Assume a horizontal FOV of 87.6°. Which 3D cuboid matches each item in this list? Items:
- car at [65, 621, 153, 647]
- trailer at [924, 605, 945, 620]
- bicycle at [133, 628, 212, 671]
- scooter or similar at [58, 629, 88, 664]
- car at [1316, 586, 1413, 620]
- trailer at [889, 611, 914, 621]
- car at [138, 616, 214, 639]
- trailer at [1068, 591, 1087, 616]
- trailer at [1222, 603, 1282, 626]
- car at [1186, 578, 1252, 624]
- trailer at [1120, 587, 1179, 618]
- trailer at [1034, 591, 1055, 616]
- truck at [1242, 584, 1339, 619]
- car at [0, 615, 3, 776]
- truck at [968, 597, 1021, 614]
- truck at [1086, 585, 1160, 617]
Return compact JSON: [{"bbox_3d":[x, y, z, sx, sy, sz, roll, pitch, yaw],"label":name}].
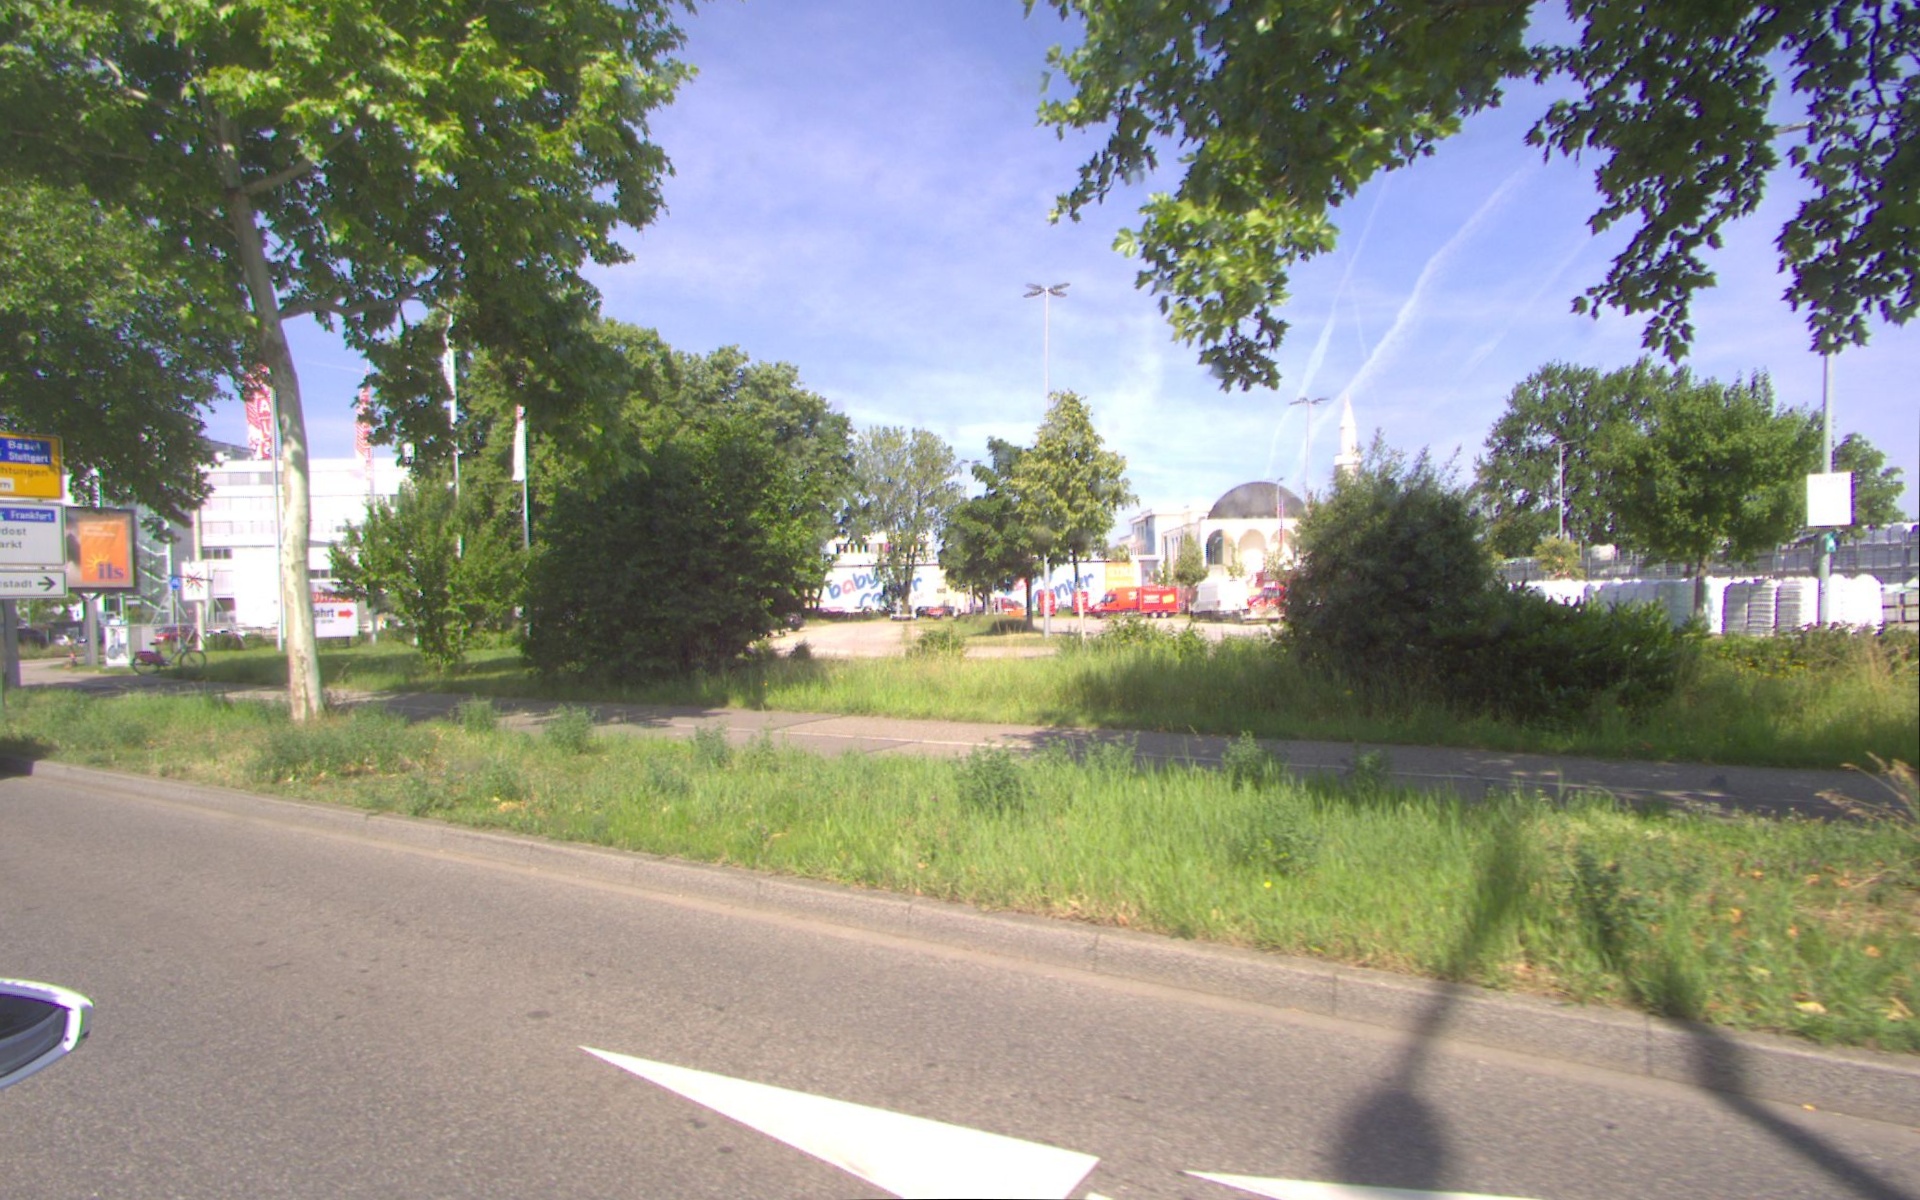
[{"bbox_3d":[-53.299,2.115,62.812,1.747,1.463,4.626,-1,0,-4],"label":"car"},{"bbox_3d":[-2.460,1.183,95.423,1.560,1.304,4.410,-1,0,-7],"label":"trailer"},{"bbox_3d":[-23.392,1.456,29.774,1.771,1.123,0.499,-3,2,-40],"label":"bicycle"},{"bbox_3d":[-29.482,1.537,33.296,1.108,1.141,0.423,-1,1,32],"label":"scooter or similar"},{"bbox_3d":[22.634,0.133,56.100,4.737,1.841,1.873,0,2,-6],"label":"car"},{"bbox_3d":[-5.473,1.509,94.677,2.059,0.792,4.411,-1,0,1],"label":"trailer"},{"bbox_3d":[-53.495,1.857,68.456,1.747,1.463,4.626,-1,0,-4],"label":"car"},{"bbox_3d":[11.362,0.326,96.946,1.520,2.389,4.410,0,1,2],"label":"trailer"},{"bbox_3d":[16.367,0.771,56.375,2.029,1.137,4.031,-3,0,-2],"label":"trailer"},{"bbox_3d":[15.950,0.089,61.969,1.980,2.575,5.687,-3,0,-6],"label":"car"},{"bbox_3d":[14.958,0.163,79.201,4.325,2.408,1.751,0,1,0],"label":"trailer"},{"bbox_3d":[8.216,0.336,97.567,1.560,2.408,4.410,0,1,-1],"label":"trailer"},{"bbox_3d":[22.062,0.117,66.926,5.751,2.168,2.066,-1,0,-1],"label":"truck"},{"bbox_3d":[-12.341,1.020,10.876,4.431,1.680,1.763,-1,-2,32],"label":"car"},{"bbox_3d":[3.851,0.632,112.686,5.888,1.854,2.189,0,-2,-2],"label":"truck"},{"bbox_3d":[13.787,0.096,84.939,5.914,2.644,2.019,-1,0,-6],"label":"truck"}]
